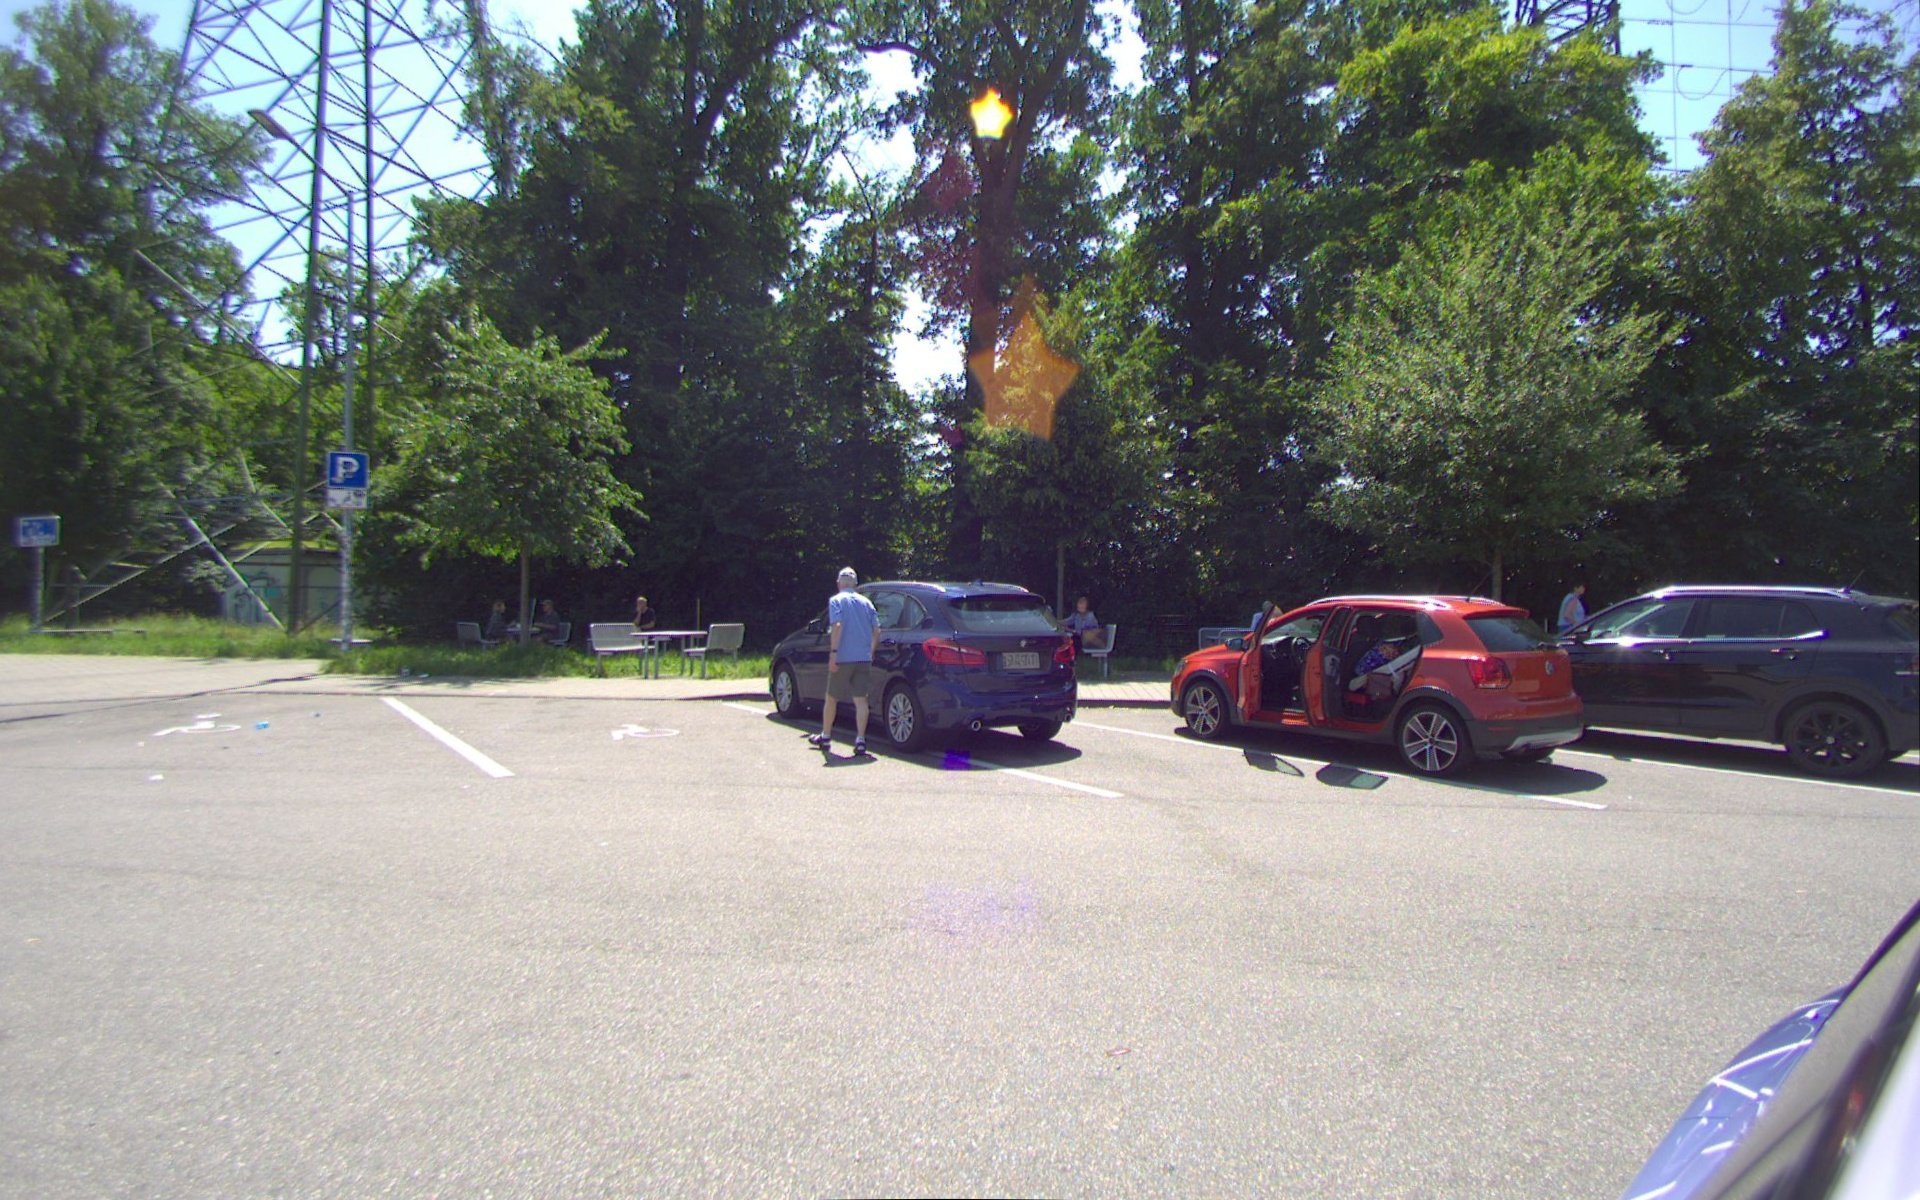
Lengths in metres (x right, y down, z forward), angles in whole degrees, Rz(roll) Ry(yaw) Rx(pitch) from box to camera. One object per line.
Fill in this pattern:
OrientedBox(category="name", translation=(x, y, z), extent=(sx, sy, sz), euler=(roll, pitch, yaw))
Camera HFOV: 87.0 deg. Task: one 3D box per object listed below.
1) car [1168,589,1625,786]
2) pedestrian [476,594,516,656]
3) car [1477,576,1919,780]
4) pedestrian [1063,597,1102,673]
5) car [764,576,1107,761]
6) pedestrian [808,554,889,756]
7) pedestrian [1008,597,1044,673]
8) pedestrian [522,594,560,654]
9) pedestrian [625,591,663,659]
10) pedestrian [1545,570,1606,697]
OrientedBox(category="car", translation=(3.889, 0.645, 9.597), extent=(1.559, 1.467, 3.737), euler=(1, 0, -33))
OrientedBox(category="pedestrian", translation=(-10.480, 0.548, 22.848), extent=(0.687, 1.352, 0.563), euler=(0, 0, -40))
OrientedBox(category="car", translation=(7.254, 0.596, 9.711), extent=(1.707, 1.607, 3.732), euler=(1, 0, -39))
OrientedBox(category="pedestrian", translation=(2.052, 0.578, 17.020), extent=(0.576, 1.251, 0.697), euler=(0, -1, 1))
OrientedBox(category="car", translation=(-0.448, 0.556, 10.671), extent=(1.776, 1.562, 3.940), euler=(1, 0, -34))
OrientedBox(category="pedestrian", translation=(-1.002, 0.475, 9.234), extent=(0.663, 1.754, 0.834), euler=(0, 0, -2))
OrientedBox(category="pedestrian", translation=(1.105, 0.582, 17.086), extent=(0.576, 1.251, 0.697), euler=(0, -1, 1))
OrientedBox(category="pedestrian", translation=(-9.722, 0.538, 23.486), extent=(0.687, 1.352, 0.563), euler=(0, 0, -40))
OrientedBox(category="pedestrian", translation=(-6.651, 0.515, 21.324), extent=(0.553, 1.408, 0.700), euler=(0, 0, 2))
OrientedBox(category="pedestrian", translation=(9.210, 0.481, 15.144), extent=(0.751, 1.854, 0.520), euler=(0, 0, -36))
